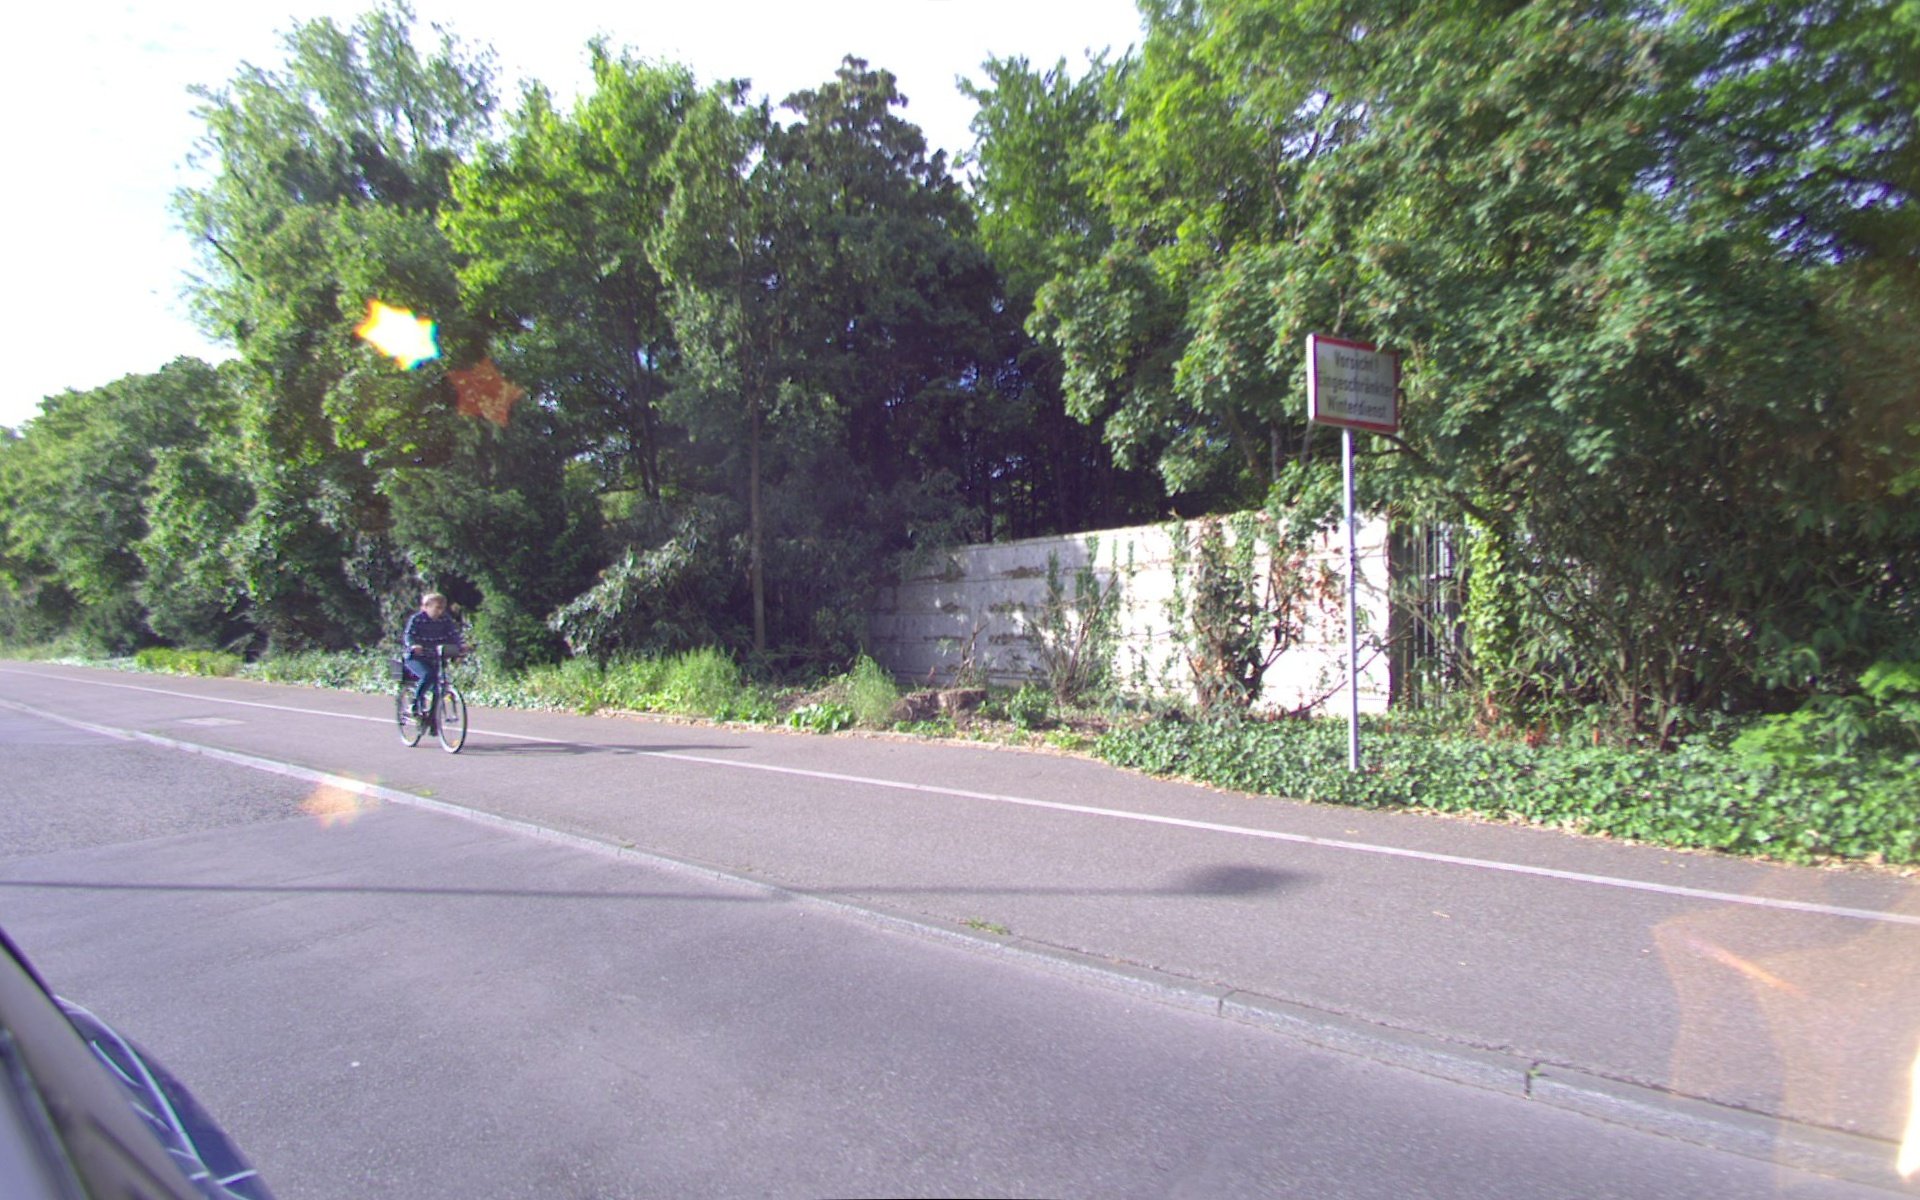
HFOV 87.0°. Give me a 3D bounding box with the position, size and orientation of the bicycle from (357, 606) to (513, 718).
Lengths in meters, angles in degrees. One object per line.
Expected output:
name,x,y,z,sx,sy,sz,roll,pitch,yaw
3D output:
bicycle,-5.745,0.639,11.006,2.346,1.105,0.656,-2,-1,40

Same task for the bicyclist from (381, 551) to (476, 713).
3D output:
bicyclist,-5.806,0.344,11.044,0.883,1.689,0.602,-2,-1,40
